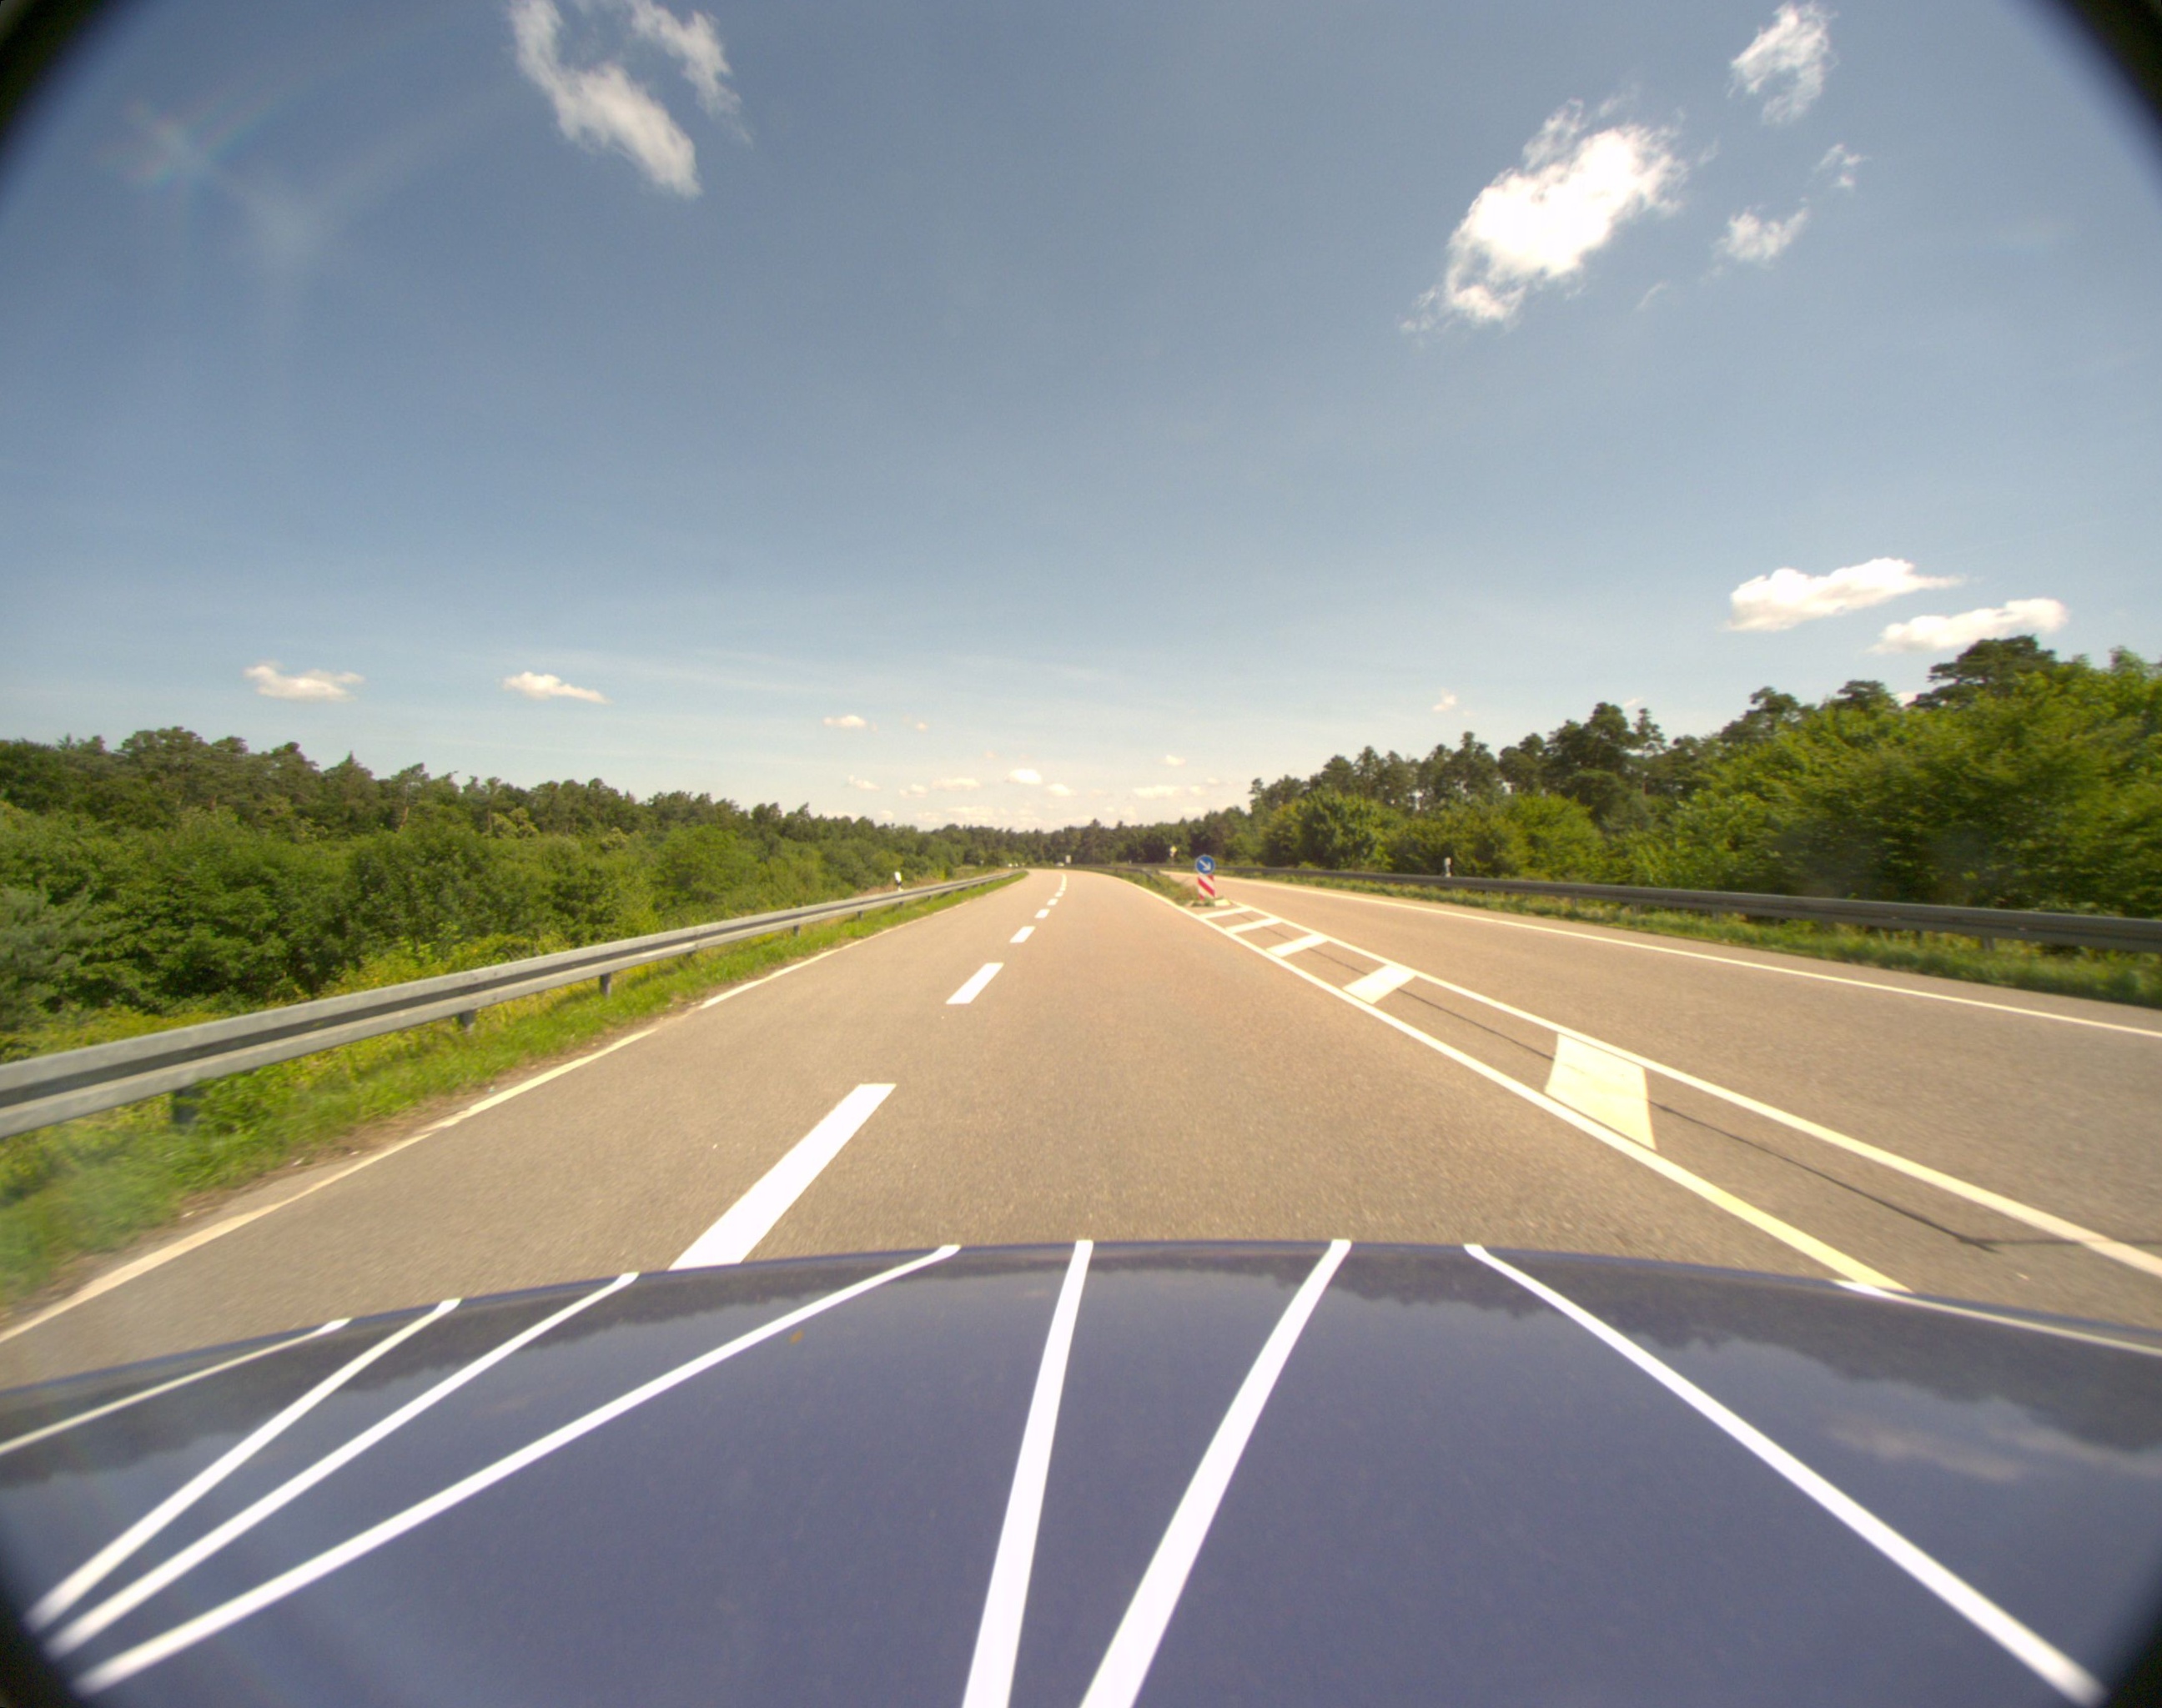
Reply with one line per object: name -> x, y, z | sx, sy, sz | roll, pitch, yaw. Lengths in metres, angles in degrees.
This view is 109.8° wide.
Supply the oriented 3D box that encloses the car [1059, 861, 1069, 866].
car -> -4.874, 2.748, 215.763 | 1.955, 1.405, 4.828 | 0, 0, -13
